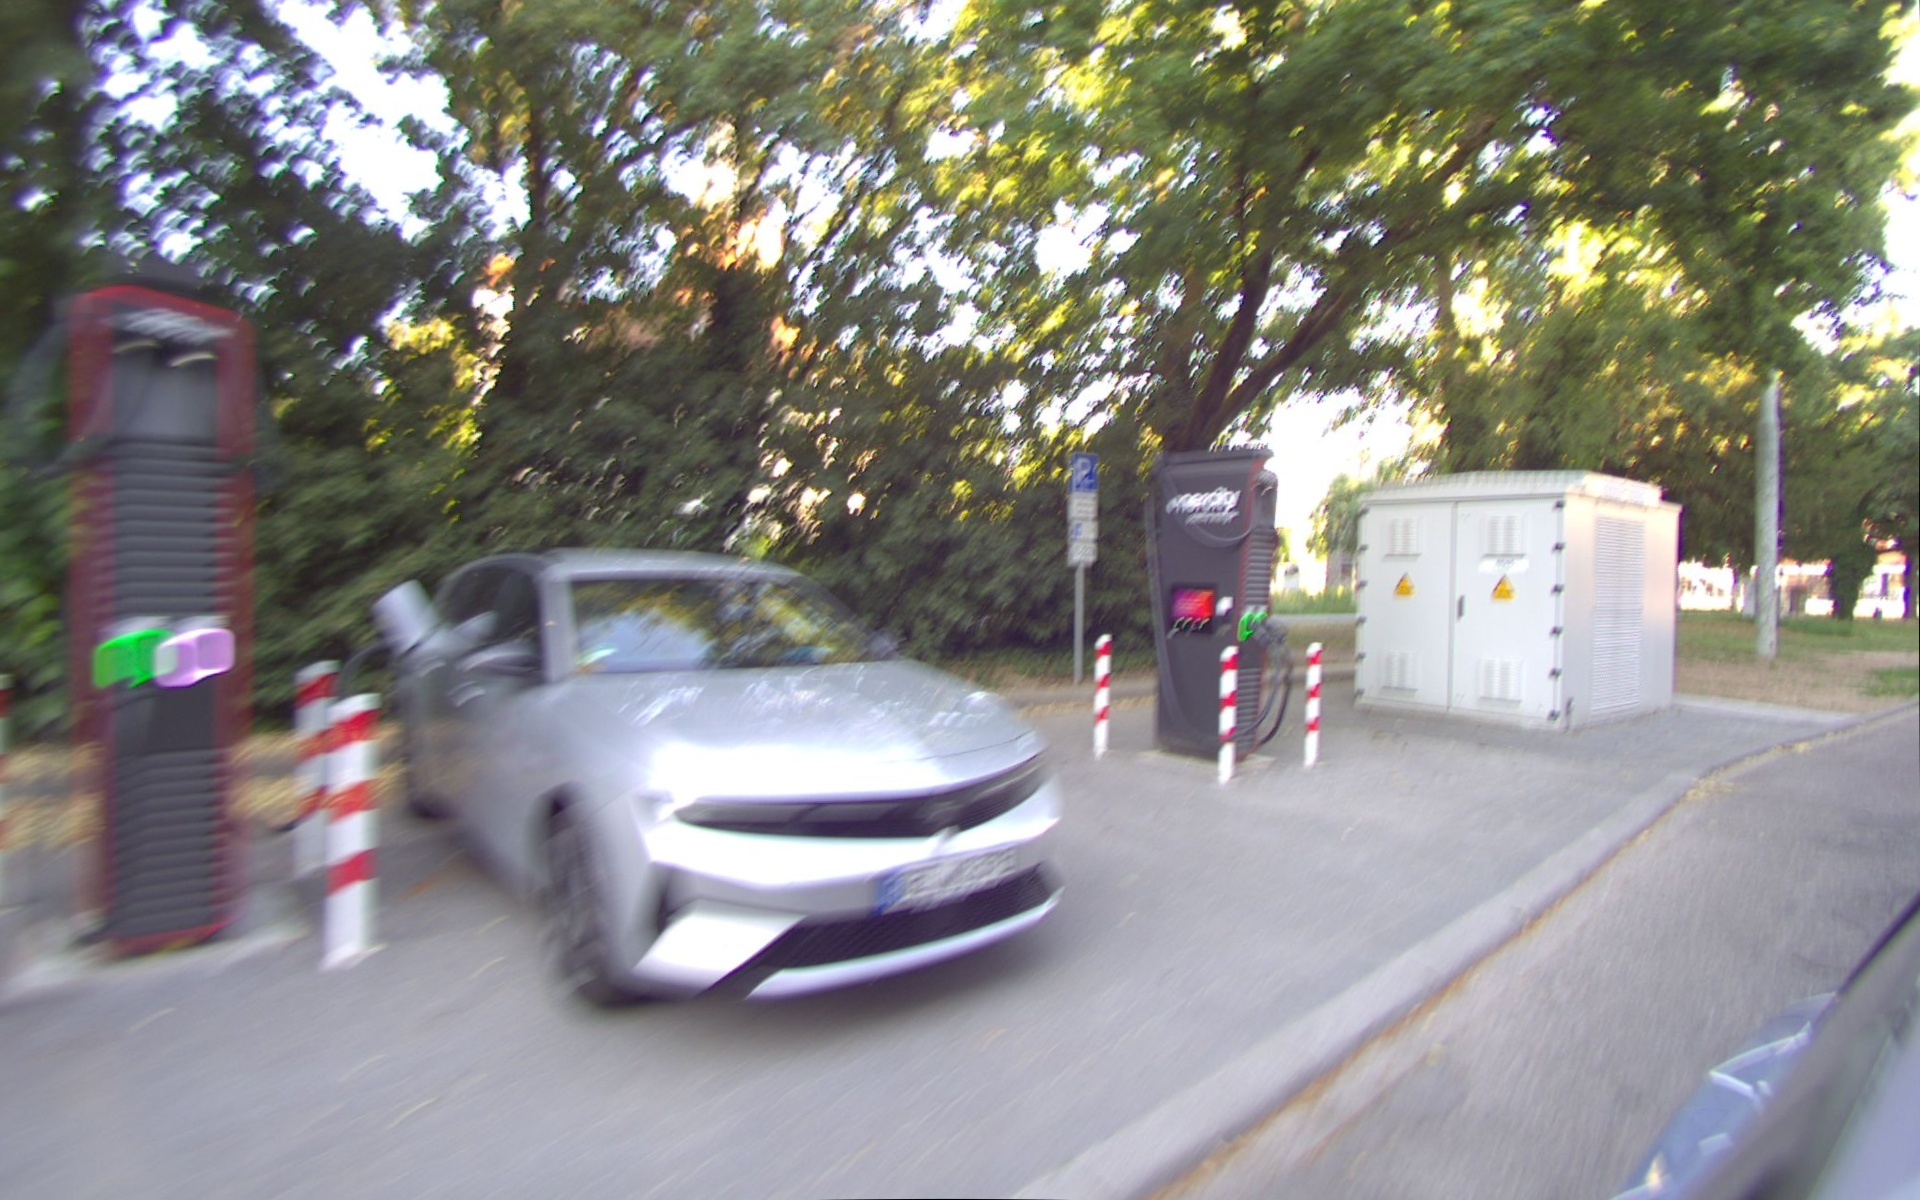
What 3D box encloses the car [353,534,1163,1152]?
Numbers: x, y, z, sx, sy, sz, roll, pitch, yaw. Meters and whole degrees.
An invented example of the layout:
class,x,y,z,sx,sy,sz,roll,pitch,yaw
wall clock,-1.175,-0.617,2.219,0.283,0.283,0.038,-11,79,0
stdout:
class,x,y,z,sx,sy,sz,roll,pitch,yaw
car,-1.398,0.476,4.702,1.751,1.487,4.451,0,3,-40
